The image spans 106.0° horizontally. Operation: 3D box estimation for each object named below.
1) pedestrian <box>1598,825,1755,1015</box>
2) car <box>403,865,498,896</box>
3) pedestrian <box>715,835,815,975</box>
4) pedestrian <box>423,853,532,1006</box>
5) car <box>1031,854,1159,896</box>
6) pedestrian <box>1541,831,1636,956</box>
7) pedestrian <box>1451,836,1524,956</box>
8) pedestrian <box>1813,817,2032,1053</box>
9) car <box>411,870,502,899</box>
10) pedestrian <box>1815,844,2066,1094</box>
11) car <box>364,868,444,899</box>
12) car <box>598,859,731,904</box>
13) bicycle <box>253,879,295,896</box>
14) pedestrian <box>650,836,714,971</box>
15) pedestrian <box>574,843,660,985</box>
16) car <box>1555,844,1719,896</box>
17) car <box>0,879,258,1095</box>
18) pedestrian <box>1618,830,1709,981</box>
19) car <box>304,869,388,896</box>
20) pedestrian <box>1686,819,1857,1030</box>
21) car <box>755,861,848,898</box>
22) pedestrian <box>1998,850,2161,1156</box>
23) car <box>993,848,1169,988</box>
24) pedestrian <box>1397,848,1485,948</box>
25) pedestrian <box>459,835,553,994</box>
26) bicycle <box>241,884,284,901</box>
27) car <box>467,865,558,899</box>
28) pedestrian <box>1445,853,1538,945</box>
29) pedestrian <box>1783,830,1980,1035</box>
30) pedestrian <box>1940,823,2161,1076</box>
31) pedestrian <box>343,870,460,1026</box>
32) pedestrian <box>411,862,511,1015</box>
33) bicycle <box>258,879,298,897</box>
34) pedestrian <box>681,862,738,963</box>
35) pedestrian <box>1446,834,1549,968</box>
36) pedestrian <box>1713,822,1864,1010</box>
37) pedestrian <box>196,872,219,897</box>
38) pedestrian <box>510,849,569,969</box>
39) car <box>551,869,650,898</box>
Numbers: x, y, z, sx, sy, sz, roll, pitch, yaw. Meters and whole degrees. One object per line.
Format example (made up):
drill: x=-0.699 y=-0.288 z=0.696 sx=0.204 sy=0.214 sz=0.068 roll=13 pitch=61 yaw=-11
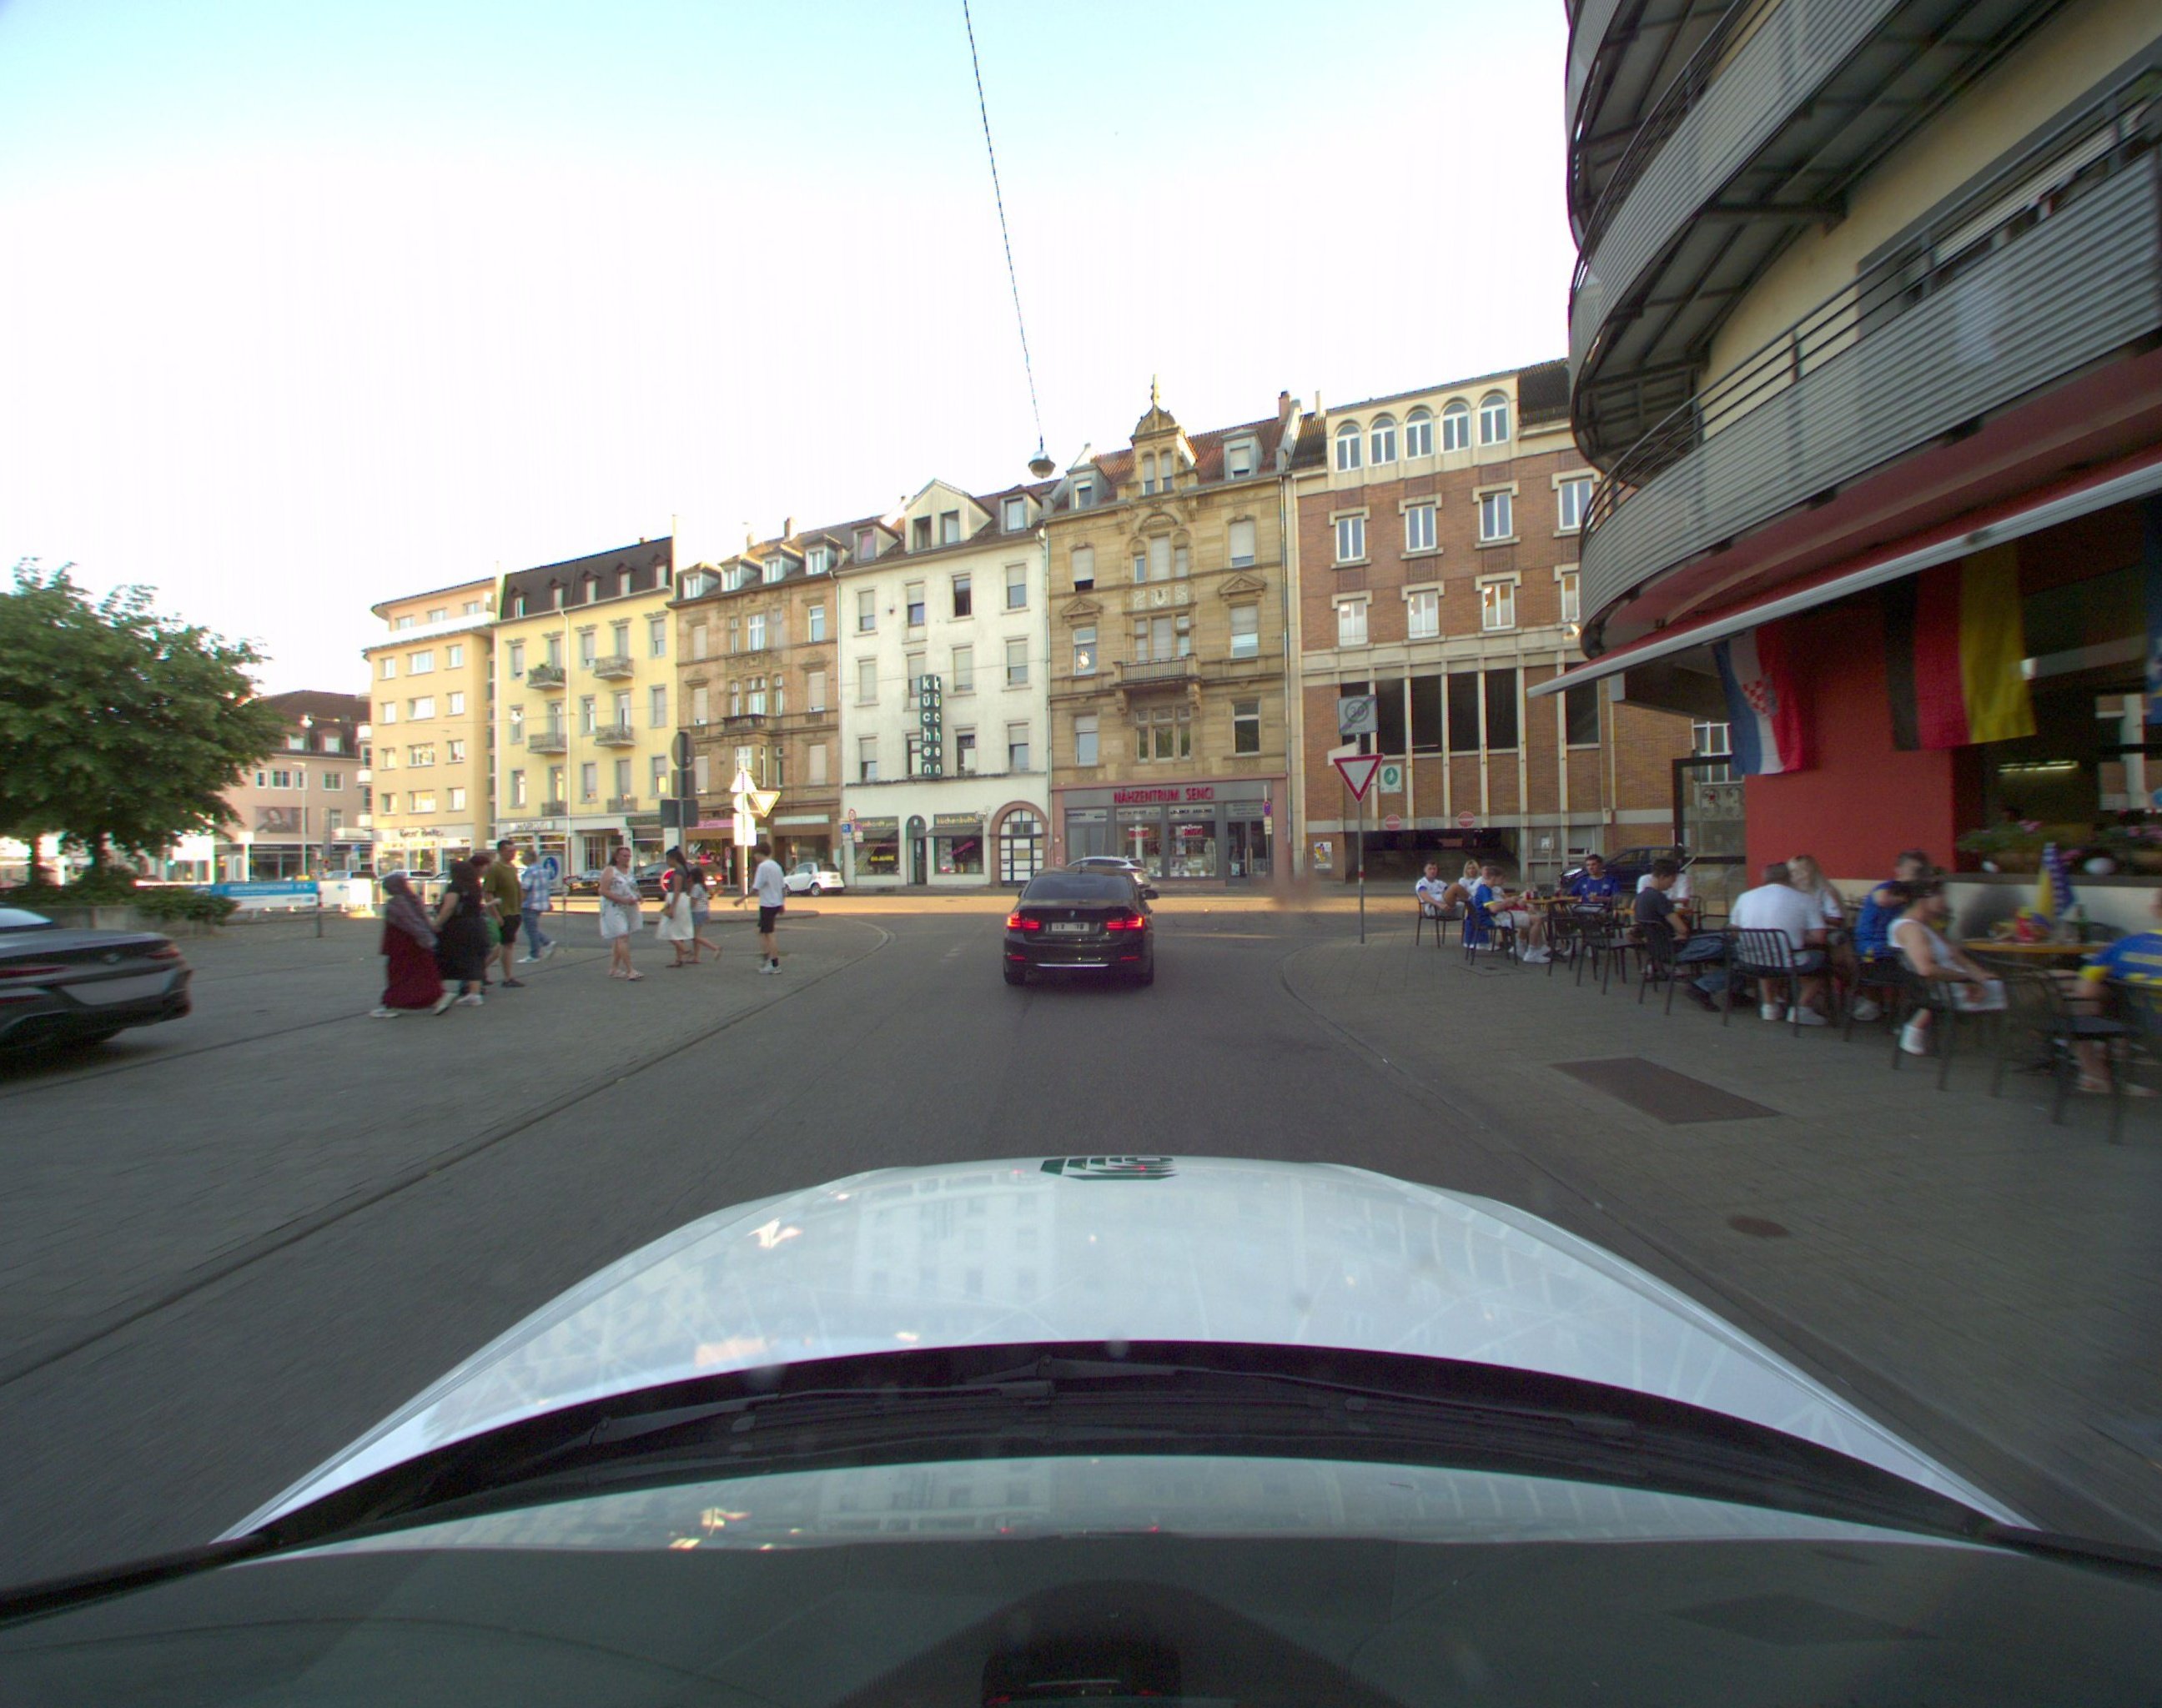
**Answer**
pedestrian: x=5.244 y=0.551 z=7.217 sx=0.711 sy=1.536 sz=0.758 roll=-5 pitch=0 yaw=-5
car: x=-32.610 y=1.334 z=42.116 sx=4.187 sy=1.518 sz=1.824 roll=0 pitch=0 yaw=18
pedestrian: x=-4.426 y=0.681 z=11.428 sx=0.878 sy=1.853 sz=0.991 roll=0 pitch=-1 yaw=39
pedestrian: x=-6.961 y=0.829 z=9.441 sx=0.713 sy=1.669 sz=0.878 roll=0 pitch=-1 yaw=-14
car: x=0.564 y=0.784 z=32.195 sx=4.626 sy=1.535 sz=2.010 roll=0 pitch=0 yaw=21
pedestrian: x=6.568 y=0.492 z=10.555 sx=0.717 sy=1.536 sz=0.844 roll=1 pitch=-1 yaw=-36
pedestrian: x=5.374 y=0.545 z=10.805 sx=0.707 sy=1.536 sz=0.692 roll=-2 pitch=-1 yaw=16
pedestrian: x=5.818 y=0.529 z=5.669 sx=0.849 sy=1.536 sz=0.678 roll=0 pitch=-1 yaw=-5
car: x=-35.965 y=1.709 z=46.924 sx=4.810 sy=1.543 sz=2.033 roll=0 pitch=0 yaw=23
pedestrian: x=5.118 y=0.637 z=4.902 sx=0.652 sy=1.345 sz=0.748 roll=-3 pitch=0 yaw=-4
car: x=-40.953 y=1.754 z=49.270 sx=4.355 sy=1.762 sz=1.884 roll=0 pitch=0 yaw=22
car: x=-16.791 y=1.080 z=32.885 sx=4.565 sy=1.652 sz=2.107 roll=0 pitch=1 yaw=17
bicycle: x=-54.570 y=2.260 z=55.085 sx=0.595 sy=1.112 sz=1.900 roll=-1 pitch=-1 yaw=21
pedestrian: x=-5.824 y=0.691 z=11.880 sx=0.784 sy=1.875 sz=0.707 roll=1 pitch=-1 yaw=-30
pedestrian: x=-6.232 y=0.767 z=10.950 sx=0.887 sy=1.803 sz=0.706 roll=1 pitch=-1 yaw=-39
car: x=17.396 y=0.484 z=25.741 sx=3.951 sy=1.520 sz=2.011 roll=-1 pitch=0 yaw=23
car: x=-9.725 y=0.936 z=6.218 sx=4.431 sy=1.431 sz=2.101 roll=0 pitch=0 yaw=-8
pedestrian: x=6.240 y=0.526 z=8.763 sx=0.743 sy=1.536 sz=0.652 roll=0 pitch=-1 yaw=31
car: x=-46.636 y=1.806 z=51.659 sx=4.746 sy=1.613 sz=2.010 roll=-1 pitch=-1 yaw=21
pedestrian: x=5.438 y=0.527 z=6.455 sx=0.647 sy=1.527 sz=0.699 roll=-4 pitch=0 yaw=-5
car: x=-12.919 y=1.134 z=37.639 sx=3.951 sy=1.585 sz=1.715 roll=0 pitch=0 yaw=23
pedestrian: x=5.193 y=0.638 z=3.791 sx=0.868 sy=1.306 sz=0.857 roll=-3 pitch=-1 yaw=18
car: x=0.048 y=0.733 z=10.928 sx=1.882 sy=1.492 sz=4.205 roll=-1 pitch=-1 yaw=1
pedestrian: x=5.264 y=0.622 z=11.948 sx=0.772 sy=1.382 sz=0.832 roll=-1 pitch=-1 yaw=-27
pedestrian: x=-7.164 y=0.716 z=10.152 sx=0.857 sy=1.877 sz=0.706 roll=1 pitch=-1 yaw=-43
bicycle: x=-56.125 y=2.621 z=55.855 sx=0.753 sy=1.112 sz=1.899 roll=-1 pitch=-1 yaw=20
car: x=-31.076 y=1.470 z=44.528 sx=4.603 sy=1.745 sz=1.898 roll=0 pitch=0 yaw=22
pedestrian: x=6.059 y=0.652 z=12.049 sx=0.687 sy=1.282 sz=0.959 roll=-1 pitch=-3 yaw=-26
pedestrian: x=6.301 y=0.584 z=6.453 sx=0.766 sy=1.504 sz=0.782 roll=-1 pitch=0 yaw=-4
pedestrian: x=5.943 y=0.550 z=5.018 sx=0.664 sy=1.434 sz=0.560 roll=-3 pitch=0 yaw=-4
pedestrian: x=-6.978 y=0.937 z=8.388 sx=0.676 sy=1.542 sz=0.592 roll=0 pitch=-1 yaw=-2
pedestrian: x=-6.858 y=0.882 z=9.008 sx=0.803 sy=1.582 sz=0.722 roll=1 pitch=-1 yaw=-42
bicycle: x=-54.143 y=2.280 z=54.928 sx=0.515 sy=1.112 sz=1.899 roll=-1 pitch=-1 yaw=20
pedestrian: x=-5.697 y=0.869 z=12.484 sx=0.718 sy=1.486 sz=0.598 roll=1 pitch=-1 yaw=-30
pedestrian: x=5.134 y=0.557 z=10.090 sx=0.710 sy=1.536 sz=0.853 roll=-5 pitch=0 yaw=0
pedestrian: x=6.177 y=0.518 z=7.147 sx=0.672 sy=1.536 sz=0.654 roll=-3 pitch=0 yaw=-4
pedestrian: x=-61.197 y=2.136 z=57.061 sx=0.803 sy=1.721 sz=0.800 roll=-1 pitch=-1 yaw=16
pedestrian: x=-8.239 y=0.808 z=12.416 sx=0.689 sy=1.746 sz=0.709 roll=1 pitch=-1 yaw=-30
car: x=-25.294 y=1.562 z=42.871 sx=4.791 sy=1.434 sz=2.011 roll=-1 pitch=-1 yaw=23
